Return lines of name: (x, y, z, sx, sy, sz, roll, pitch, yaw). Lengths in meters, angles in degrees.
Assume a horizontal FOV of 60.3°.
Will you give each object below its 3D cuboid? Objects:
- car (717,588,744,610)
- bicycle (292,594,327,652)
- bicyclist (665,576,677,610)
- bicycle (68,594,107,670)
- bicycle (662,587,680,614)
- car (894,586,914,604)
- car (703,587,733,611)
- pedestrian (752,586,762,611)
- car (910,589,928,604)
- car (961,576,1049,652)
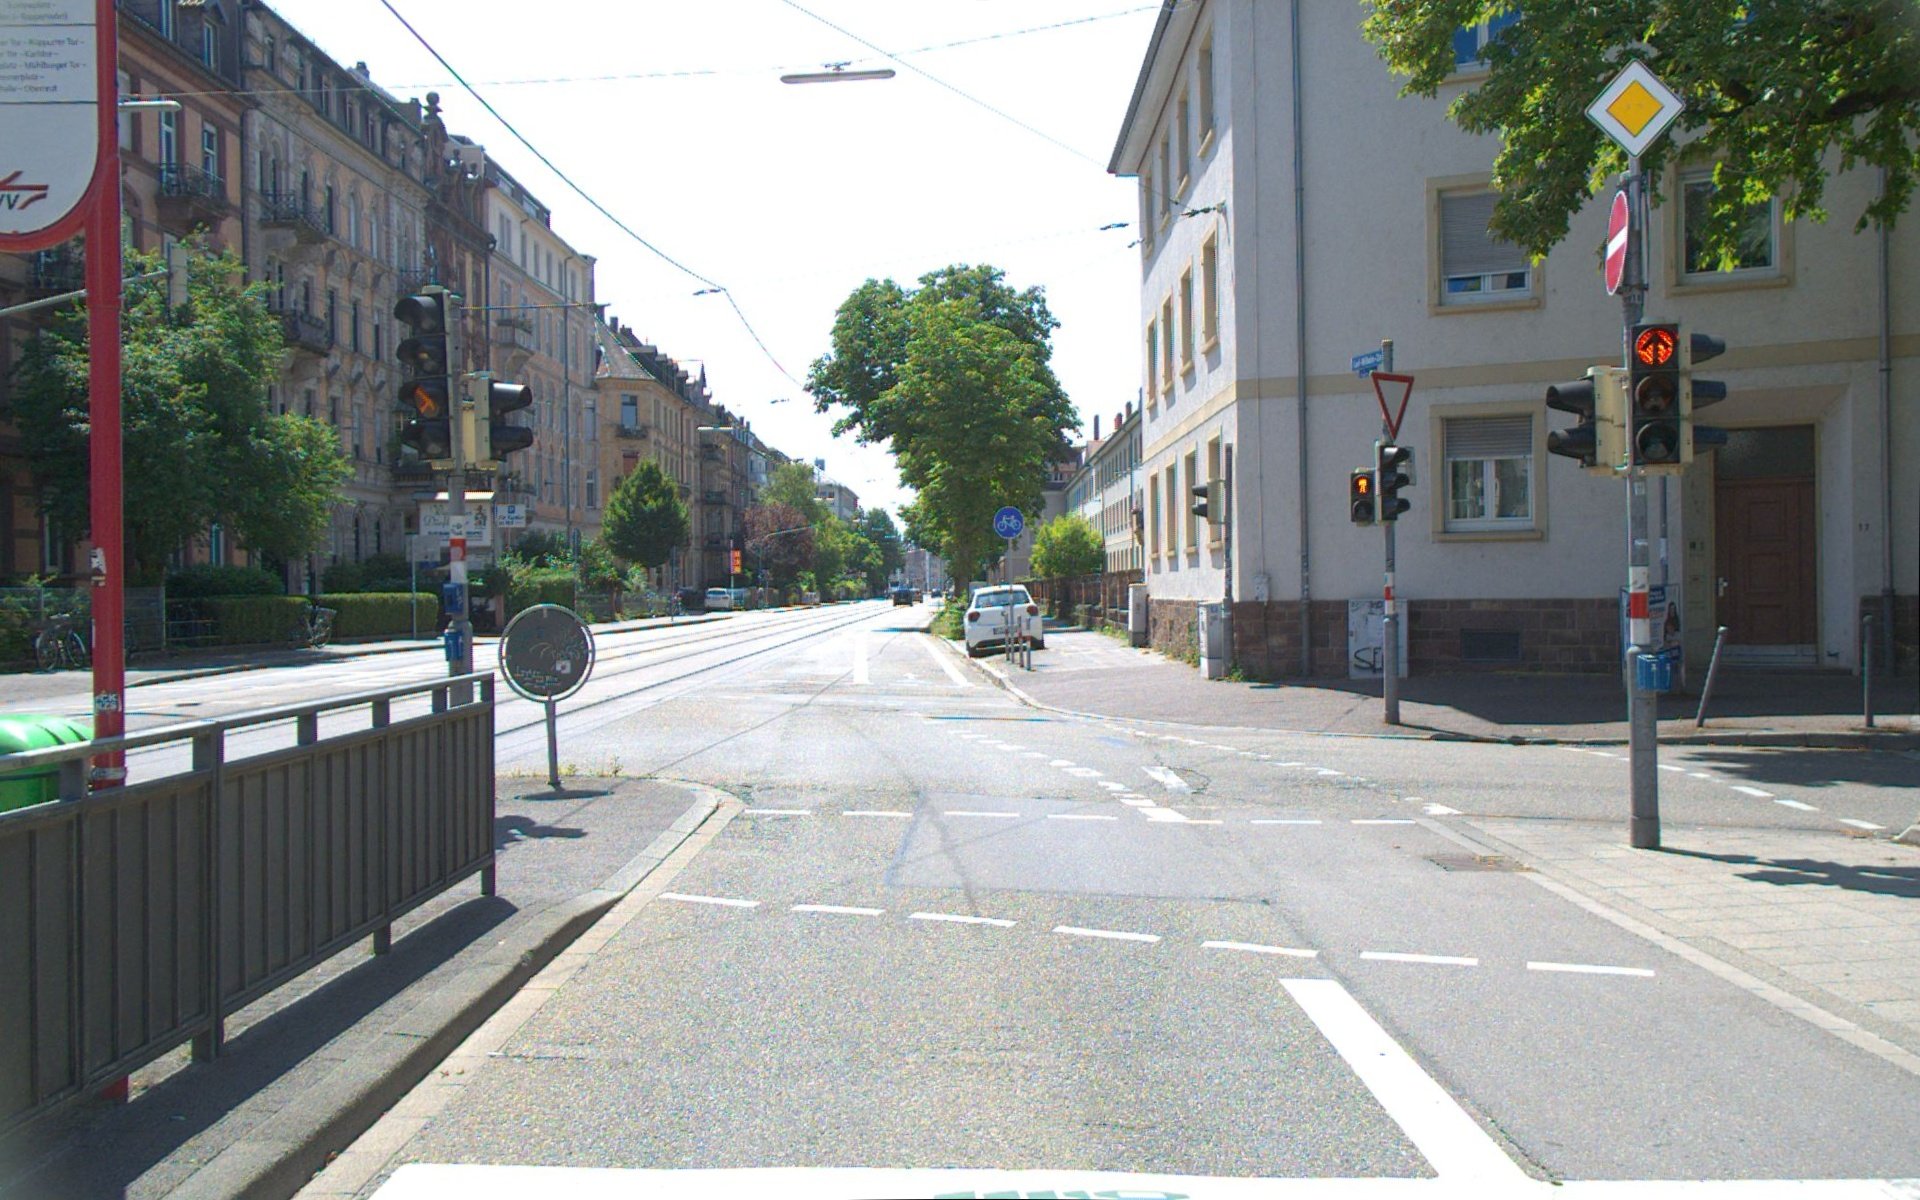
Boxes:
car: (-17.161, -0.090, 123.655, 1.596, 1.498, 3.562, -4, 0, -3)
bicycle: (-15.948, 0.542, 40.508, 0.584, 1.380, 2.419, 0, 0, -27)
bicyclist: (-15.334, -0.369, 87.819, 0.531, 1.794, 0.498, 0, 0, -1)
bicycle: (-16.784, 0.595, 31.850, 0.607, 1.420, 2.288, 0, 0, -27)
bicycle: (-15.349, 0.020, 87.904, 0.565, 1.412, 2.500, 0, 0, -1)
car: (-4.719, -0.435, 138.958, 1.494, 1.469, 3.364, -2, 0, 0)
car: (-16.854, -0.074, 115.358, 1.651, 1.498, 3.936, -4, 0, -3)
pedestrian: (-14.796, -0.105, 120.662, 0.664, 1.758, 0.677, 0, 0, -1)
car: (-4.262, -0.372, 172.614, 1.712, 1.498, 3.937, -4, 0, -1)
car: (0.959, 0.296, 37.182, 1.712, 1.498, 3.937, -4, 0, -1)
